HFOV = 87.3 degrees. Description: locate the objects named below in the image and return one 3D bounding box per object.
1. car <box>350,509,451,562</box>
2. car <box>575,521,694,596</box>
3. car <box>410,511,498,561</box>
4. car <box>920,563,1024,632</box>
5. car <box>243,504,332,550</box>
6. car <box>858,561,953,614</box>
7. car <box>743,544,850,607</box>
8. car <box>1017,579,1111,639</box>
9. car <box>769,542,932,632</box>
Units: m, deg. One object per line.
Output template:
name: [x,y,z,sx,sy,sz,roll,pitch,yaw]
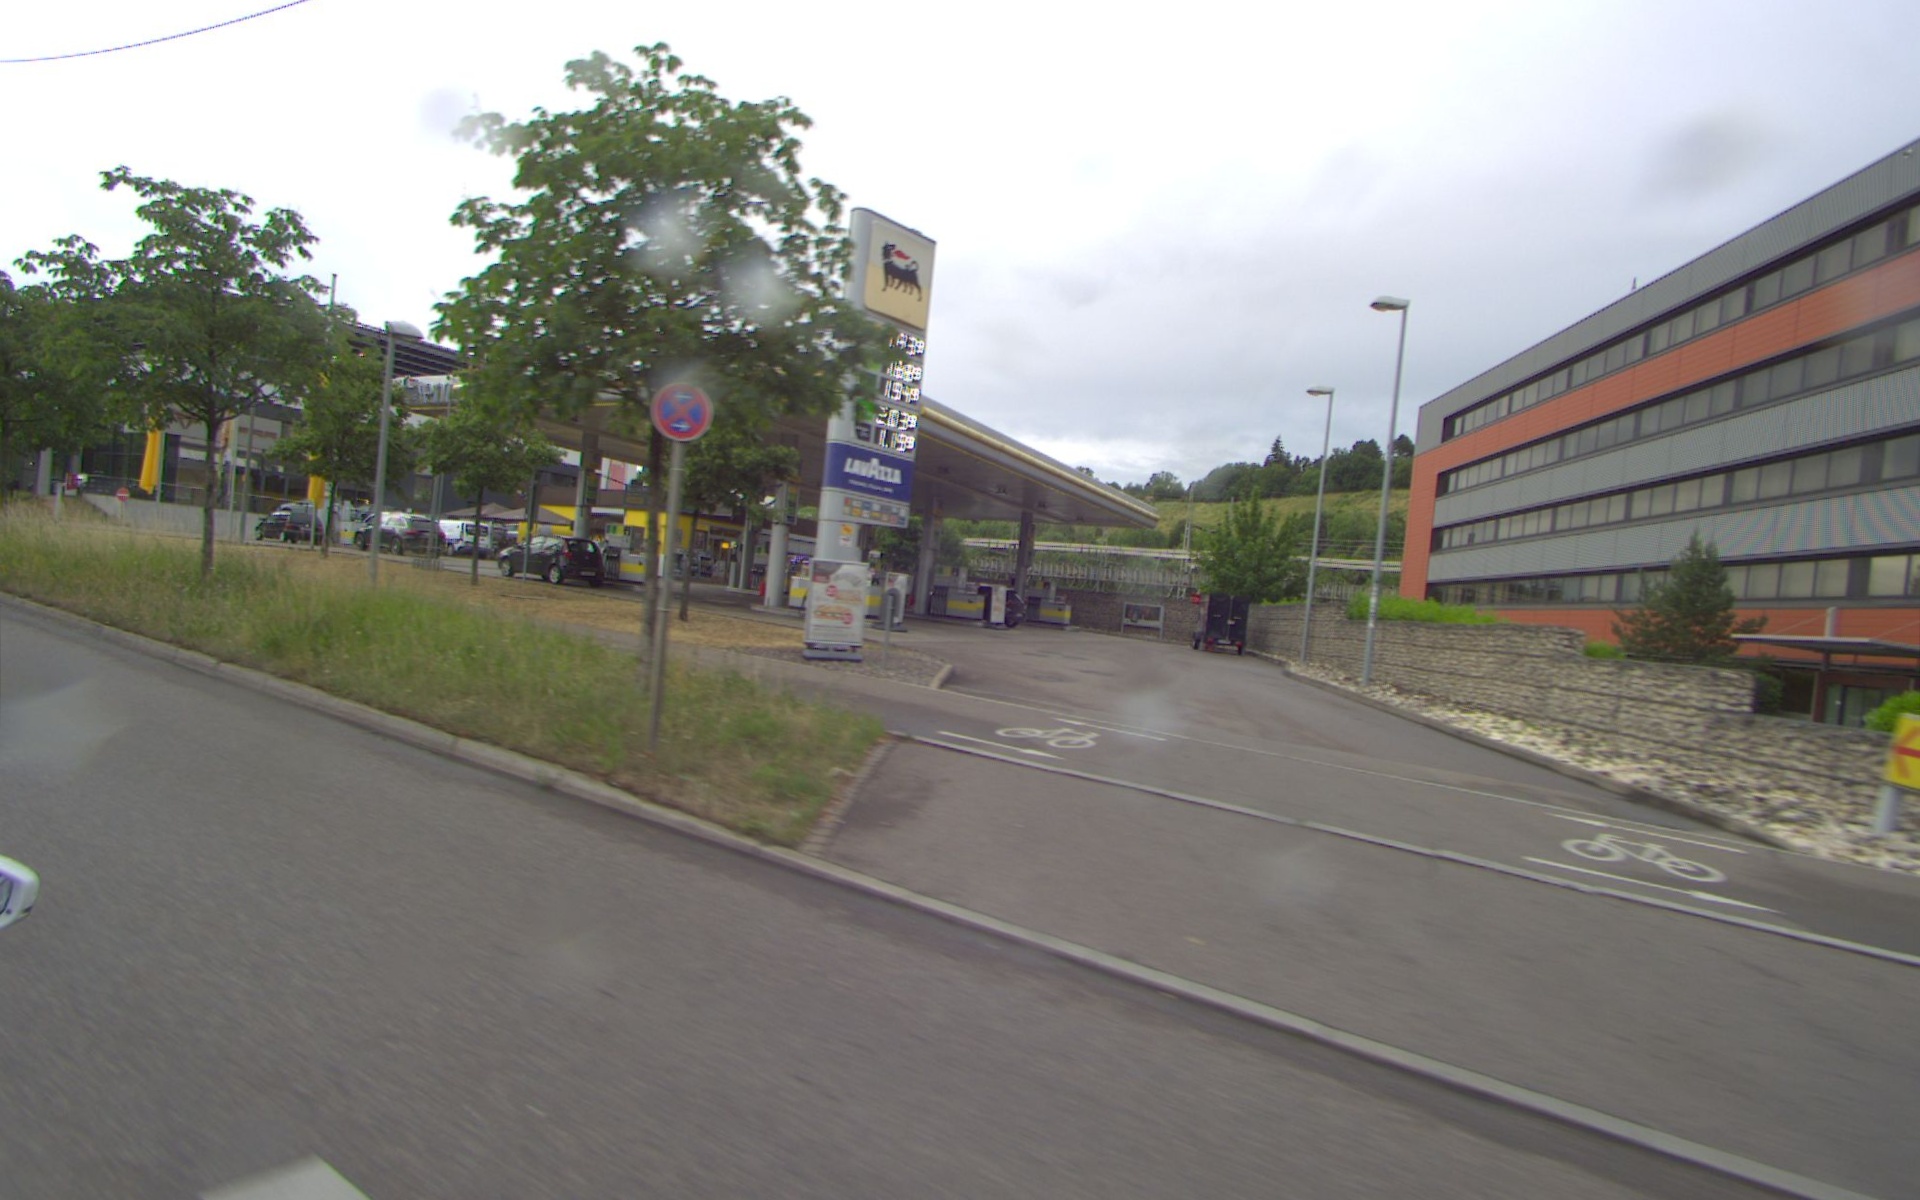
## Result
car: [-23.678,-2.732,42.573,3.934,1.750,1.995,7,1,32]
car: [-10.624,-1.367,32.776,3.485,2.037,1.681,6,-2,34]
car: [-24.982,-3.168,49.629,3.934,2.039,1.995,7,1,32]
car: [0.429,-0.085,35.789,3.086,2.037,1.678,6,-2,32]
car: [-30.166,-3.276,45.098,3.934,1.612,1.793,7,1,32]
car: [-2.636,-0.609,48.503,3.931,2.037,1.999,6,-2,29]
car: [-6.620,-1.009,40.668,3.709,2.037,1.875,6,-2,29]
car: [4.529,0.381,43.786,3.492,2.138,1.694,6,-2,29]
car: [-3.054,-0.377,27.839,3.933,2.058,1.995,6,1,31]
